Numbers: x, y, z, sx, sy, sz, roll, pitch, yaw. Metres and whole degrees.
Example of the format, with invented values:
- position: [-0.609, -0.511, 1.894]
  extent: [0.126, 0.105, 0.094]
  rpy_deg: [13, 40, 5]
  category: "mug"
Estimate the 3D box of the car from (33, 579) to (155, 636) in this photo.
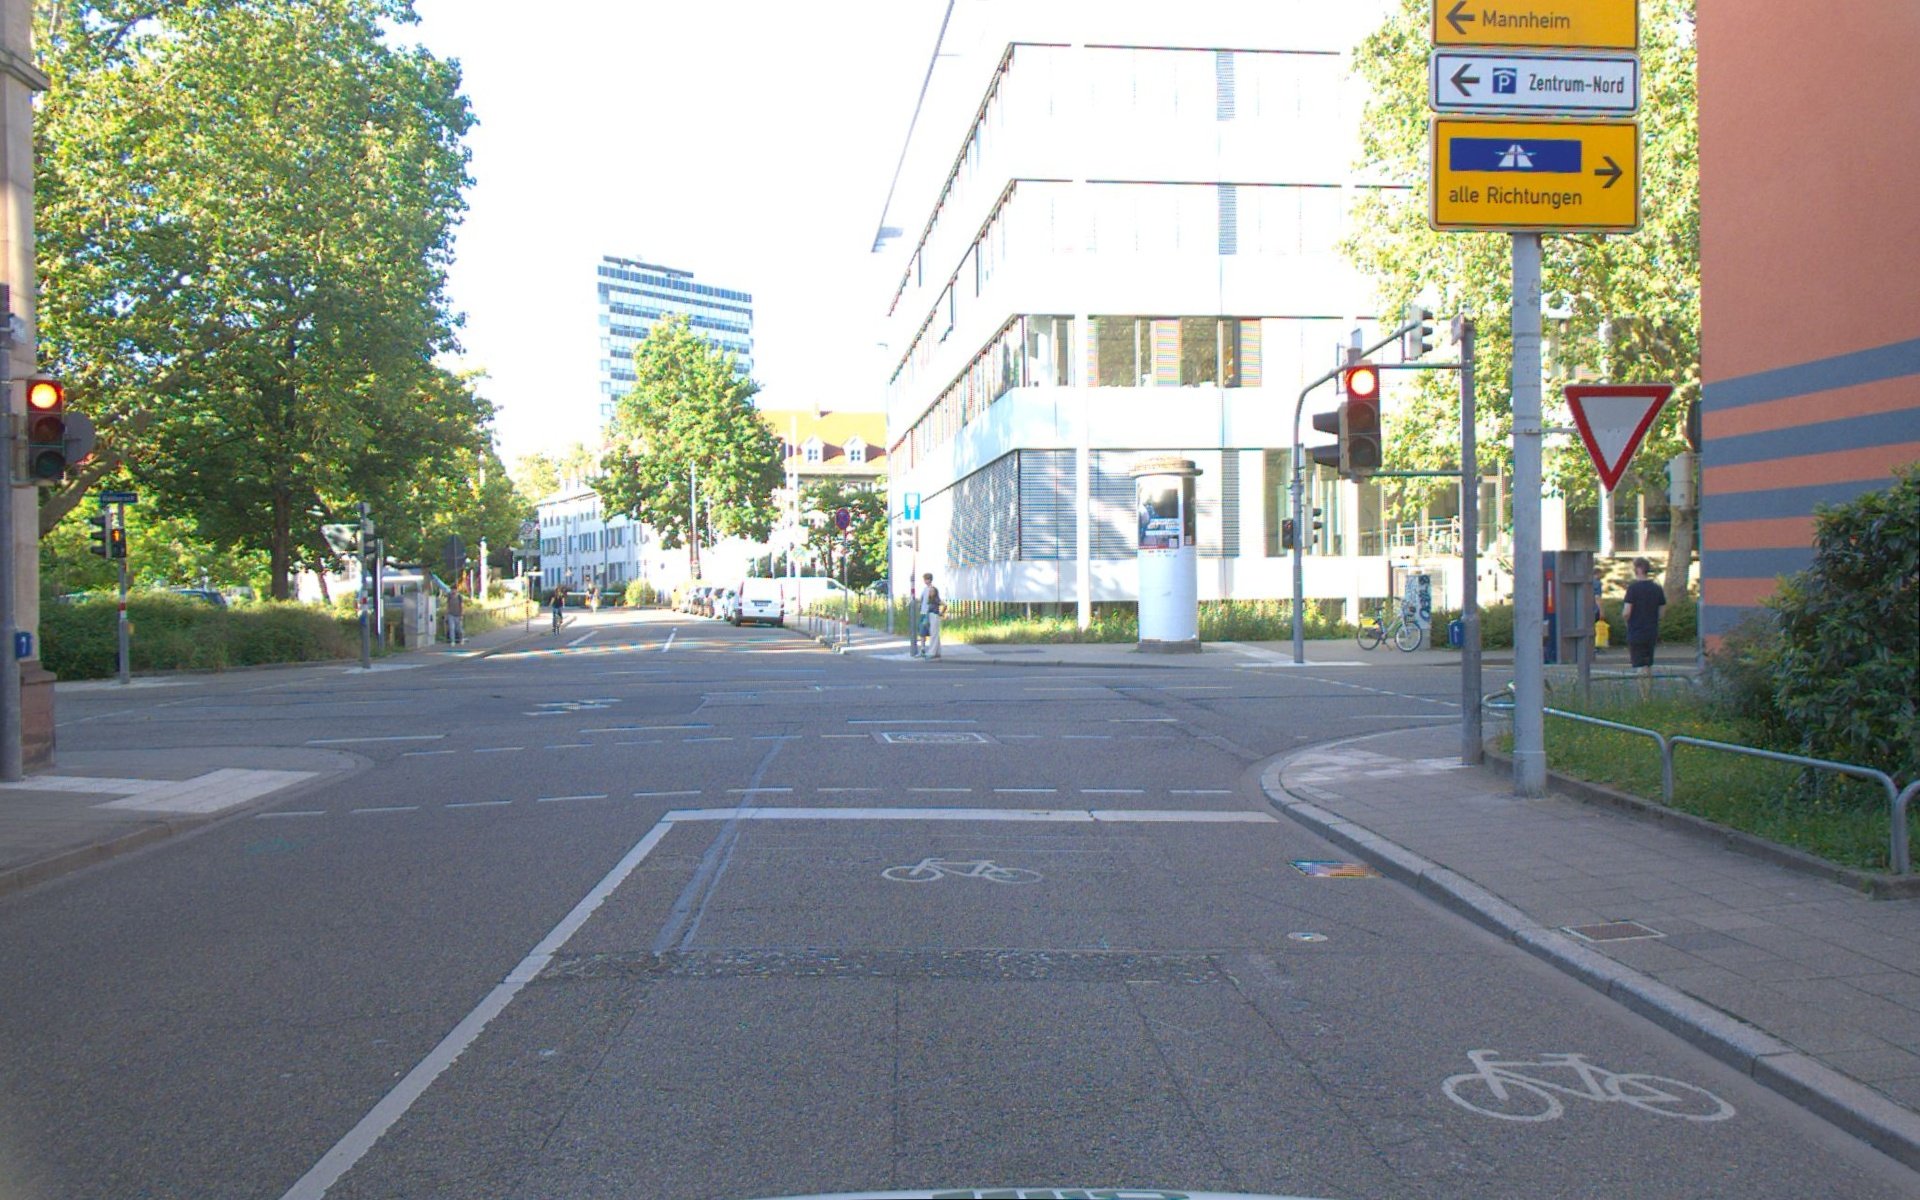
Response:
- position: [-39.973, 0.324, 76.453]
  extent: [4.472, 2.433, 2.069]
  rpy_deg: [-2, 0, -10]
  category: "car"

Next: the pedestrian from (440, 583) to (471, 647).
- position: [-14.264, 0.419, 46.786]
  extent: [0.690, 1.753, 0.952]
  rpy_deg: [-2, 0, -11]
  category: "pedestrian"

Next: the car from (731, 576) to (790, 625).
- position: [-7.832, -0.015, 64.552]
  extent: [2.047, 1.827, 4.404]
  rpy_deg: [0, 1, -10]
  category: "car"

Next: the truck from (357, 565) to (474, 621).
- position: [-24.561, -0.334, 74.769]
  extent: [4.741, 2.441, 2.082]
  rpy_deg: [0, 1, -11]
  category: "truck"

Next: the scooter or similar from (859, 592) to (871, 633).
- position: [-3.362, 0.435, 58.523]
  extent: [0.324, 1.449, 1.333]
  rpy_deg: [1, 0, -6]
  category: "scooter or similar"

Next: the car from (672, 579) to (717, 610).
- position: [-15.343, -0.347, 95.277]
  extent: [1.860, 1.684, 4.391]
  rpy_deg: [0, 1, -19]
  category: "car"

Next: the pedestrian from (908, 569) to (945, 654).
- position: [-0.758, 0.265, 37.801]
  extent: [0.547, 1.882, 0.678]
  rpy_deg: [-3, 1, 15]
  category: "pedestrian"

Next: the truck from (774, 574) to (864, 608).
- position: [-8.773, -0.574, 102.936]
  extent: [5.258, 2.049, 1.989]
  rpy_deg: [-1, 0, -20]
  category: "truck"

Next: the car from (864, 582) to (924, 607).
- position: [-4.159, -0.359, 104.191]
  extent: [3.502, 1.573, 1.549]
  rpy_deg: [-1, 0, -20]
  category: "car"

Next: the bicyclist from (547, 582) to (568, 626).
- position: [-14.288, 0.131, 58.746]
  extent: [0.604, 1.559, 0.901]
  rpy_deg: [-1, 0, -9]
  category: "bicyclist"

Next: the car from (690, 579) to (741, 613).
- position: [-12.670, -0.233, 85.381]
  extent: [1.860, 1.684, 4.391]
  rpy_deg: [0, 1, -19]
  category: "car"

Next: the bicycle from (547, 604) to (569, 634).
- position: [-14.278, 0.664, 58.735]
  extent: [0.604, 0.986, 1.837]
  rpy_deg: [-1, 1, -9]
  category: "bicycle"

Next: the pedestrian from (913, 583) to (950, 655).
- position: [-0.643, 0.431, 37.197]
  extent: [0.551, 1.567, 0.673]
  rpy_deg: [-4, 1, -19]
  category: "pedestrian"

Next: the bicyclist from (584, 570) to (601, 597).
- position: [-21.987, -1.004, 98.937]
  extent: [0.851, 1.541, 1.015]
  rpy_deg: [-3, 0, -14]
  category: "bicyclist"

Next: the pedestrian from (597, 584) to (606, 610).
- position: [-23.033, -0.173, 106.239]
  extent: [0.428, 1.636, 0.488]
  rpy_deg: [-1, 0, -27]
  category: "pedestrian"

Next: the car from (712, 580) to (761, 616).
- position: [-10.606, -0.109, 78.163]
  extent: [1.856, 1.582, 4.400]
  rpy_deg: [0, 1, -14]
  category: "car"

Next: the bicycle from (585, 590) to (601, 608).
- position: [-21.934, -0.045, 98.898]
  extent: [0.851, 1.027, 2.407]
  rpy_deg: [-3, 1, -12]
  category: "bicycle"

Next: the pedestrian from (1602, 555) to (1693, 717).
- position: [8.127, 0.410, 19.572]
  extent: [0.692, 1.872, 0.837]
  rpy_deg: [1, 0, -1]
  category: "pedestrian"

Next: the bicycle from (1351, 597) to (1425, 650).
- position: [9.351, 0.497, 36.182]
  extent: [0.503, 1.067, 1.667]
  rpy_deg: [-3, 4, -35]
  category: "bicycle"

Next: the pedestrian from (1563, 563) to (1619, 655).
- position: [13.152, 0.182, 34.460]
  extent: [0.819, 1.872, 0.707]
  rpy_deg: [1, 0, -11]
  category: "pedestrian"

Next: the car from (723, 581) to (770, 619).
- position: [-9.438, -0.033, 72.809]
  extent: [1.854, 1.582, 4.404]
  rpy_deg: [0, 1, -10]
  category: "car"
